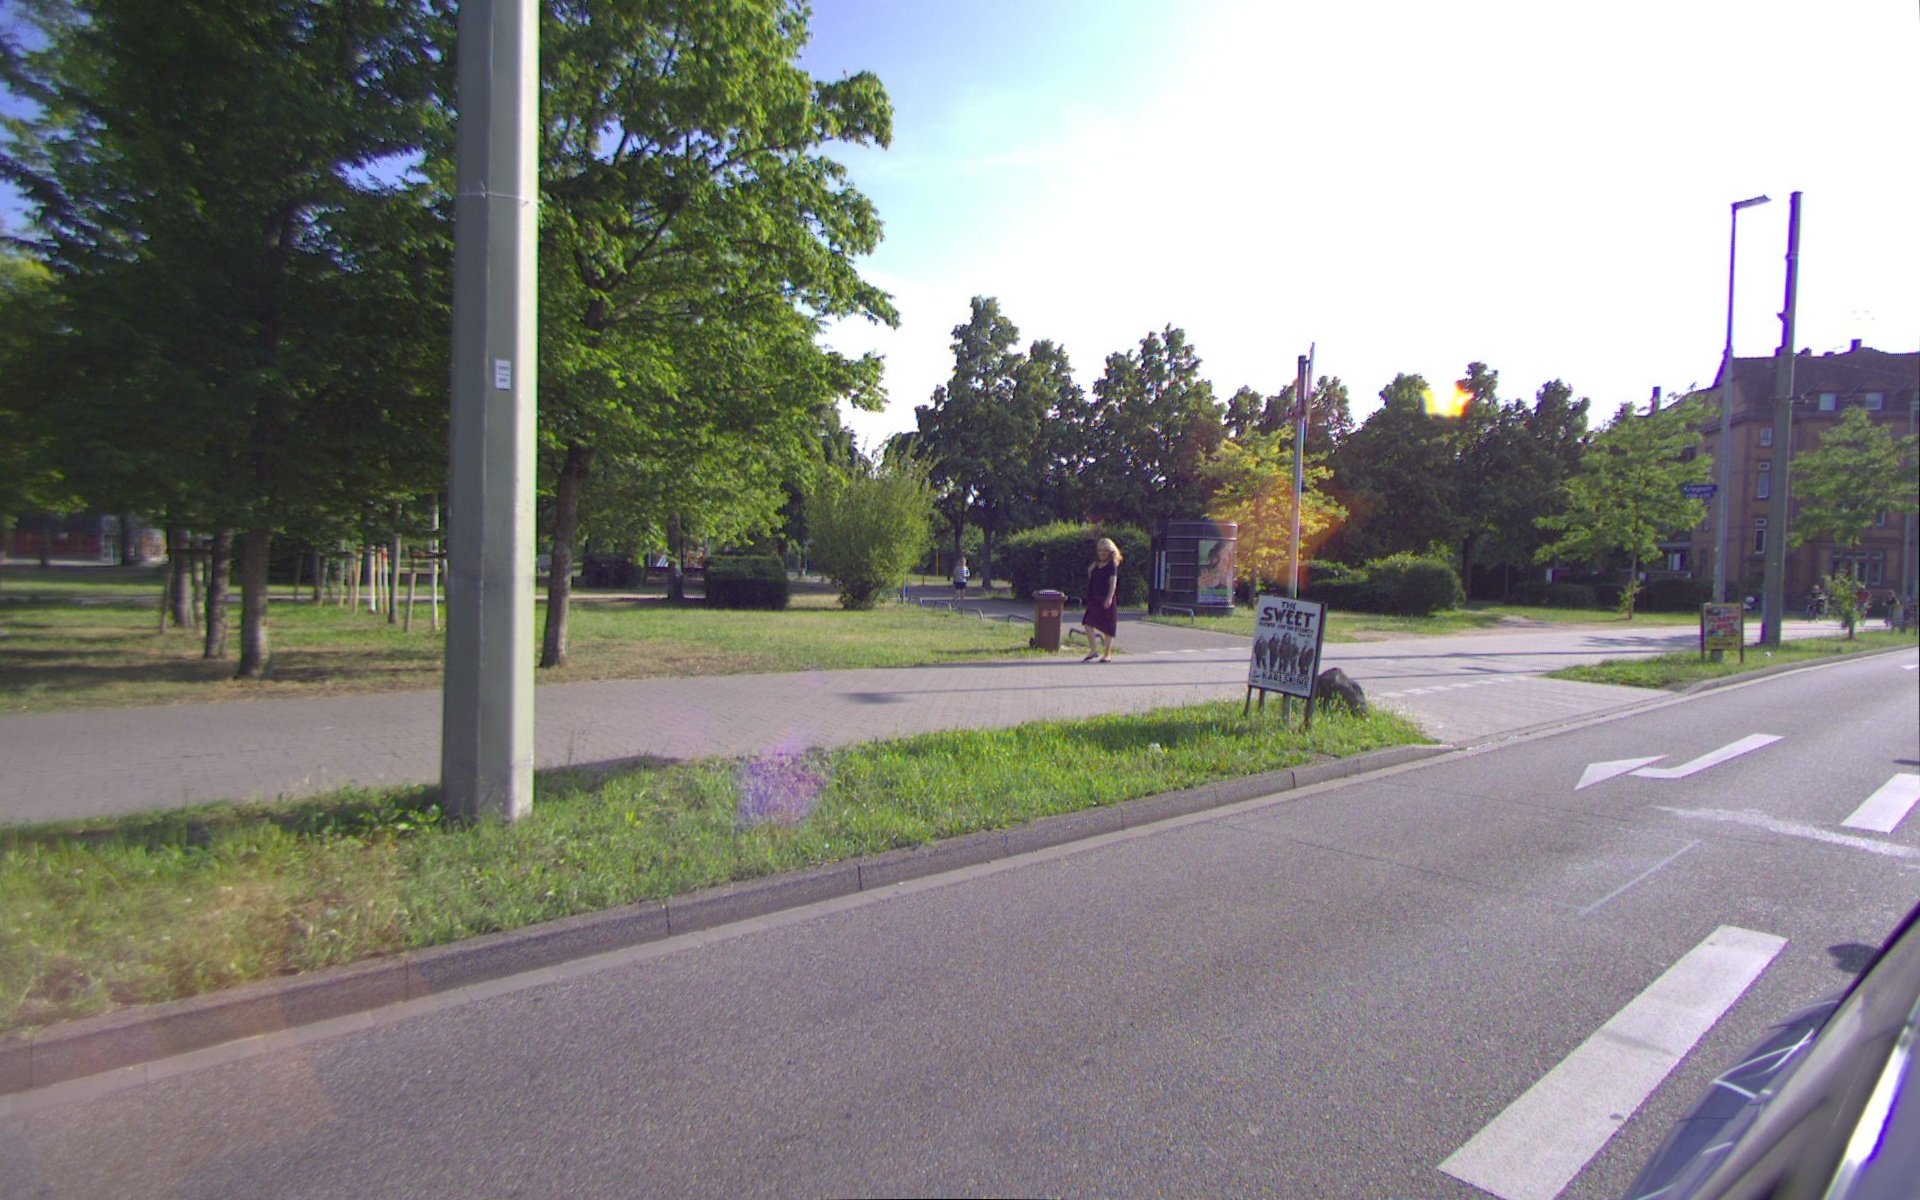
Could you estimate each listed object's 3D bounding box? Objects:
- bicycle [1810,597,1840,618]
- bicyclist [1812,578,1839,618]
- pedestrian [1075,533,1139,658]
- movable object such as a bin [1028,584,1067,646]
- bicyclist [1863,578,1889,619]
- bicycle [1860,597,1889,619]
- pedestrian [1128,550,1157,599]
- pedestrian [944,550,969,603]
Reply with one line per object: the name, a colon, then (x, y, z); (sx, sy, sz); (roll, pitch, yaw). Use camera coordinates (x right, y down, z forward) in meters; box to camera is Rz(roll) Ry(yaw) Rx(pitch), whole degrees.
bicycle: (39.874, 0.334, 46.645); (2.059, 0.929, 0.739); (0, 3, -42)
bicyclist: (39.913, -0.119, 46.645); (1.099, 1.795, 0.753); (0, 2, -42)
pedestrian: (2.079, -0.078, 14.301); (0.651, 1.722, 0.558); (0, 2, -41)
movable object such as a bin: (1.344, 0.220, 15.611); (0.514, 0.915, 0.504); (1, 2, -2)
bicyclist: (41.507, -0.072, 45.858); (0.998, 1.795, 0.730); (0, 2, -42)
bicycle: (41.334, 0.360, 45.735); (2.058, 0.929, 0.739); (0, 3, -42)
pedestrian: (8.261, -1.154, 45.797); (0.872, 2.184, 0.914); (1, 2, -28)
pedestrian: (-0.104, -0.749, 32.270); (0.609, 1.671, 0.664); (1, 2, -16)
